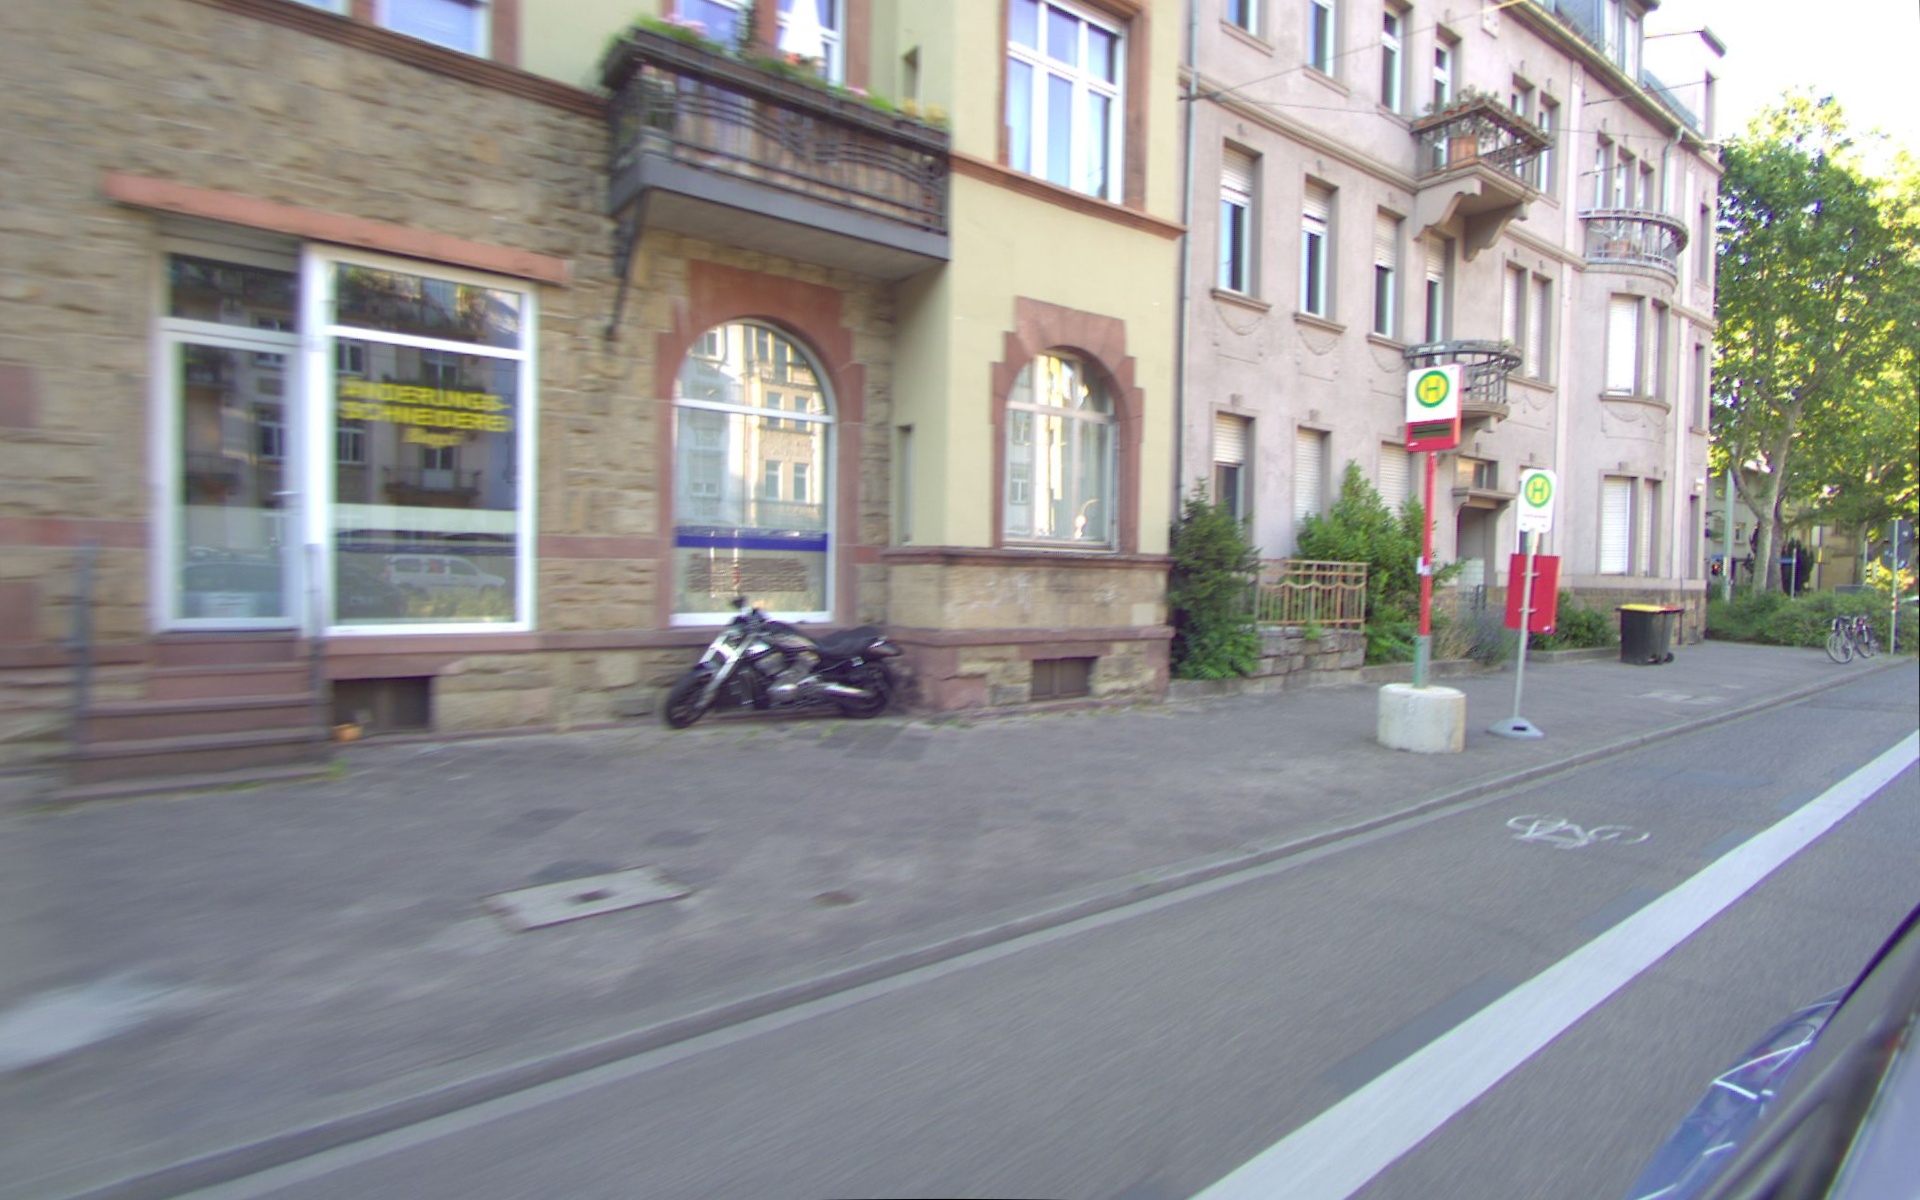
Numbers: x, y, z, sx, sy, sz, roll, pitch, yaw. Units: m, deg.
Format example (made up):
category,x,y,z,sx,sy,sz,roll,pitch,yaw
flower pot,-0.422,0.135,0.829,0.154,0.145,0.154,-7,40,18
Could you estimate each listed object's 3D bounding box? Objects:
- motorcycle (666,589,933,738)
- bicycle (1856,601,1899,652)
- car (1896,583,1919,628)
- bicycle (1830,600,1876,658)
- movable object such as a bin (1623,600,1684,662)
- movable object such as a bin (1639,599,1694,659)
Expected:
category,x,y,z,sx,sy,sz,roll,pitch,yaw
motorcycle,-1.384,0.503,9.188,2.462,1.151,0.591,-2,3,-41
bicycle,20.461,0.575,22.569,1.840,1.082,0.371,0,2,-38
car,34.777,0.240,34.333,1.746,1.544,4.061,-1,3,-30
bicycle,18.178,0.574,20.587,1.898,1.112,0.437,0,2,-42
movable object such as a bin,12.630,0.550,18.436,0.645,1.059,0.659,0,2,-24
movable object such as a bin,13.164,0.534,18.861,0.645,1.059,0.572,0,2,-24
